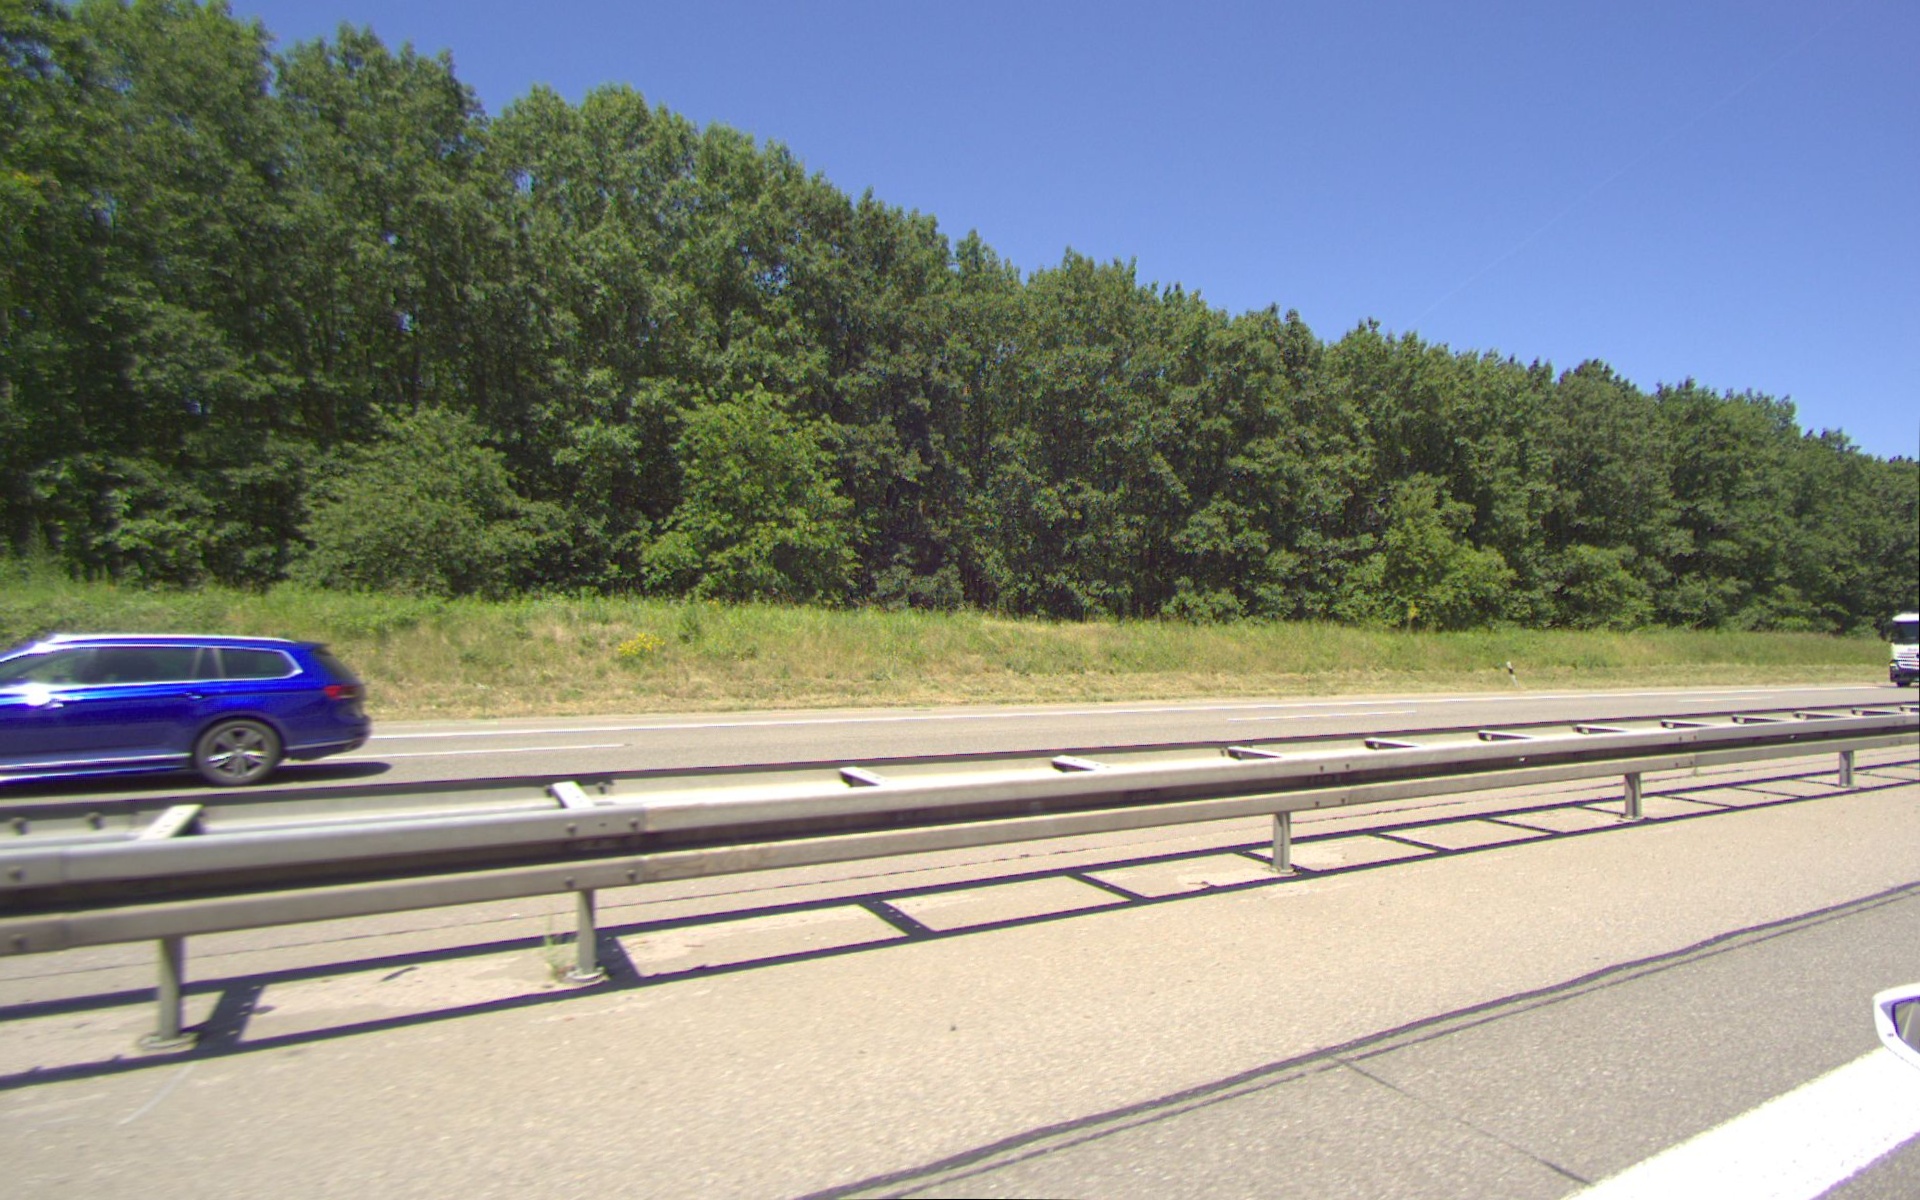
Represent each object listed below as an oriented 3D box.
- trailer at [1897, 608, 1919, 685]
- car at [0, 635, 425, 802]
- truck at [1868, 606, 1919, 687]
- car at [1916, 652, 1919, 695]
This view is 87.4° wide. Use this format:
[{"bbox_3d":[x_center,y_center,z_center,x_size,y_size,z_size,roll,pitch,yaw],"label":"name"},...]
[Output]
[{"bbox_3d":[49.009,2.257,48.119,11.660,3.479,2.670,2,-3,-30],"label":"trailer"},{"bbox_3d":[-8.186,1.102,9.914,5.075,1.462,1.667,2,-3,-30],"label":"car"},{"bbox_3d":[43.821,2.094,45.138,6.072,3.479,2.670,2,-3,-30],"label":"truck"},{"bbox_3d":[35.139,2.550,34.988,3.890,1.492,1.626,2,-3,-30],"label":"car"}]
